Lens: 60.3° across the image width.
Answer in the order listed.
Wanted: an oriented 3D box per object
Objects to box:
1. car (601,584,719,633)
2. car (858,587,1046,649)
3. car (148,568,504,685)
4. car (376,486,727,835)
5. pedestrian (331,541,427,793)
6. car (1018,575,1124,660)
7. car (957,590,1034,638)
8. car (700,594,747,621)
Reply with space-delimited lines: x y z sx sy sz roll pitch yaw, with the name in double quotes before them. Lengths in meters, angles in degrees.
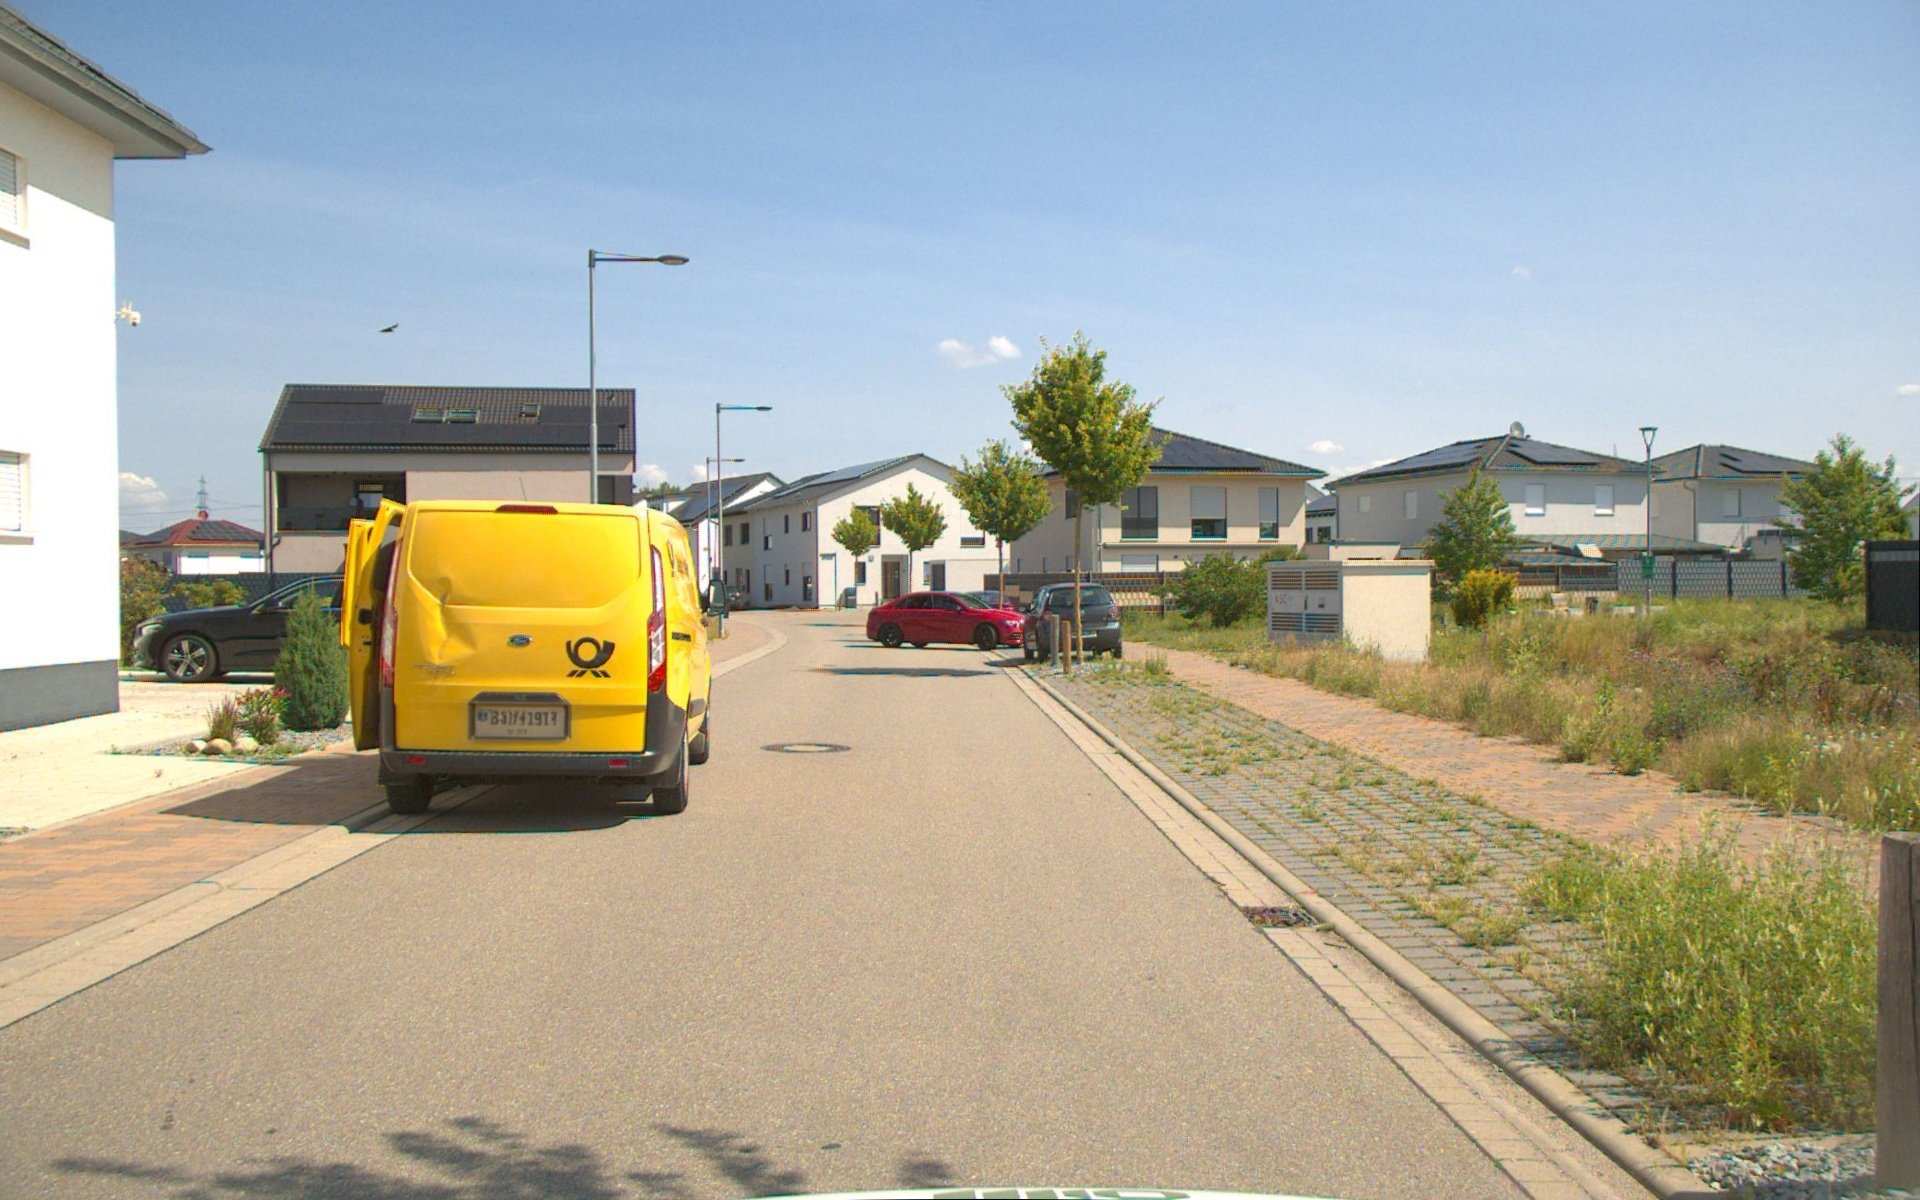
"car" -11.333 0.317 62.583 4.297 1.660 1.766 2 0 -11
"car" -0.213 0.425 41.662 4.415 1.463 1.767 1 0 25
"car" -8.437 0.353 22.419 4.320 1.477 1.742 1 0 -16
"car" -2.786 0.343 12.363 1.848 2.049 4.835 -1 0 -6
"pedestrian" -4.176 0.474 11.922 0.521 1.768 0.569 1 0 -8
"car" 2.109 0.310 32.314 1.567 1.500 3.672 -2 1 -3
"car" 1.056 0.405 51.269 1.721 1.387 4.568 1 0 -7
"car" -13.262 0.421 92.553 1.703 1.447 3.974 -1 1 -22
